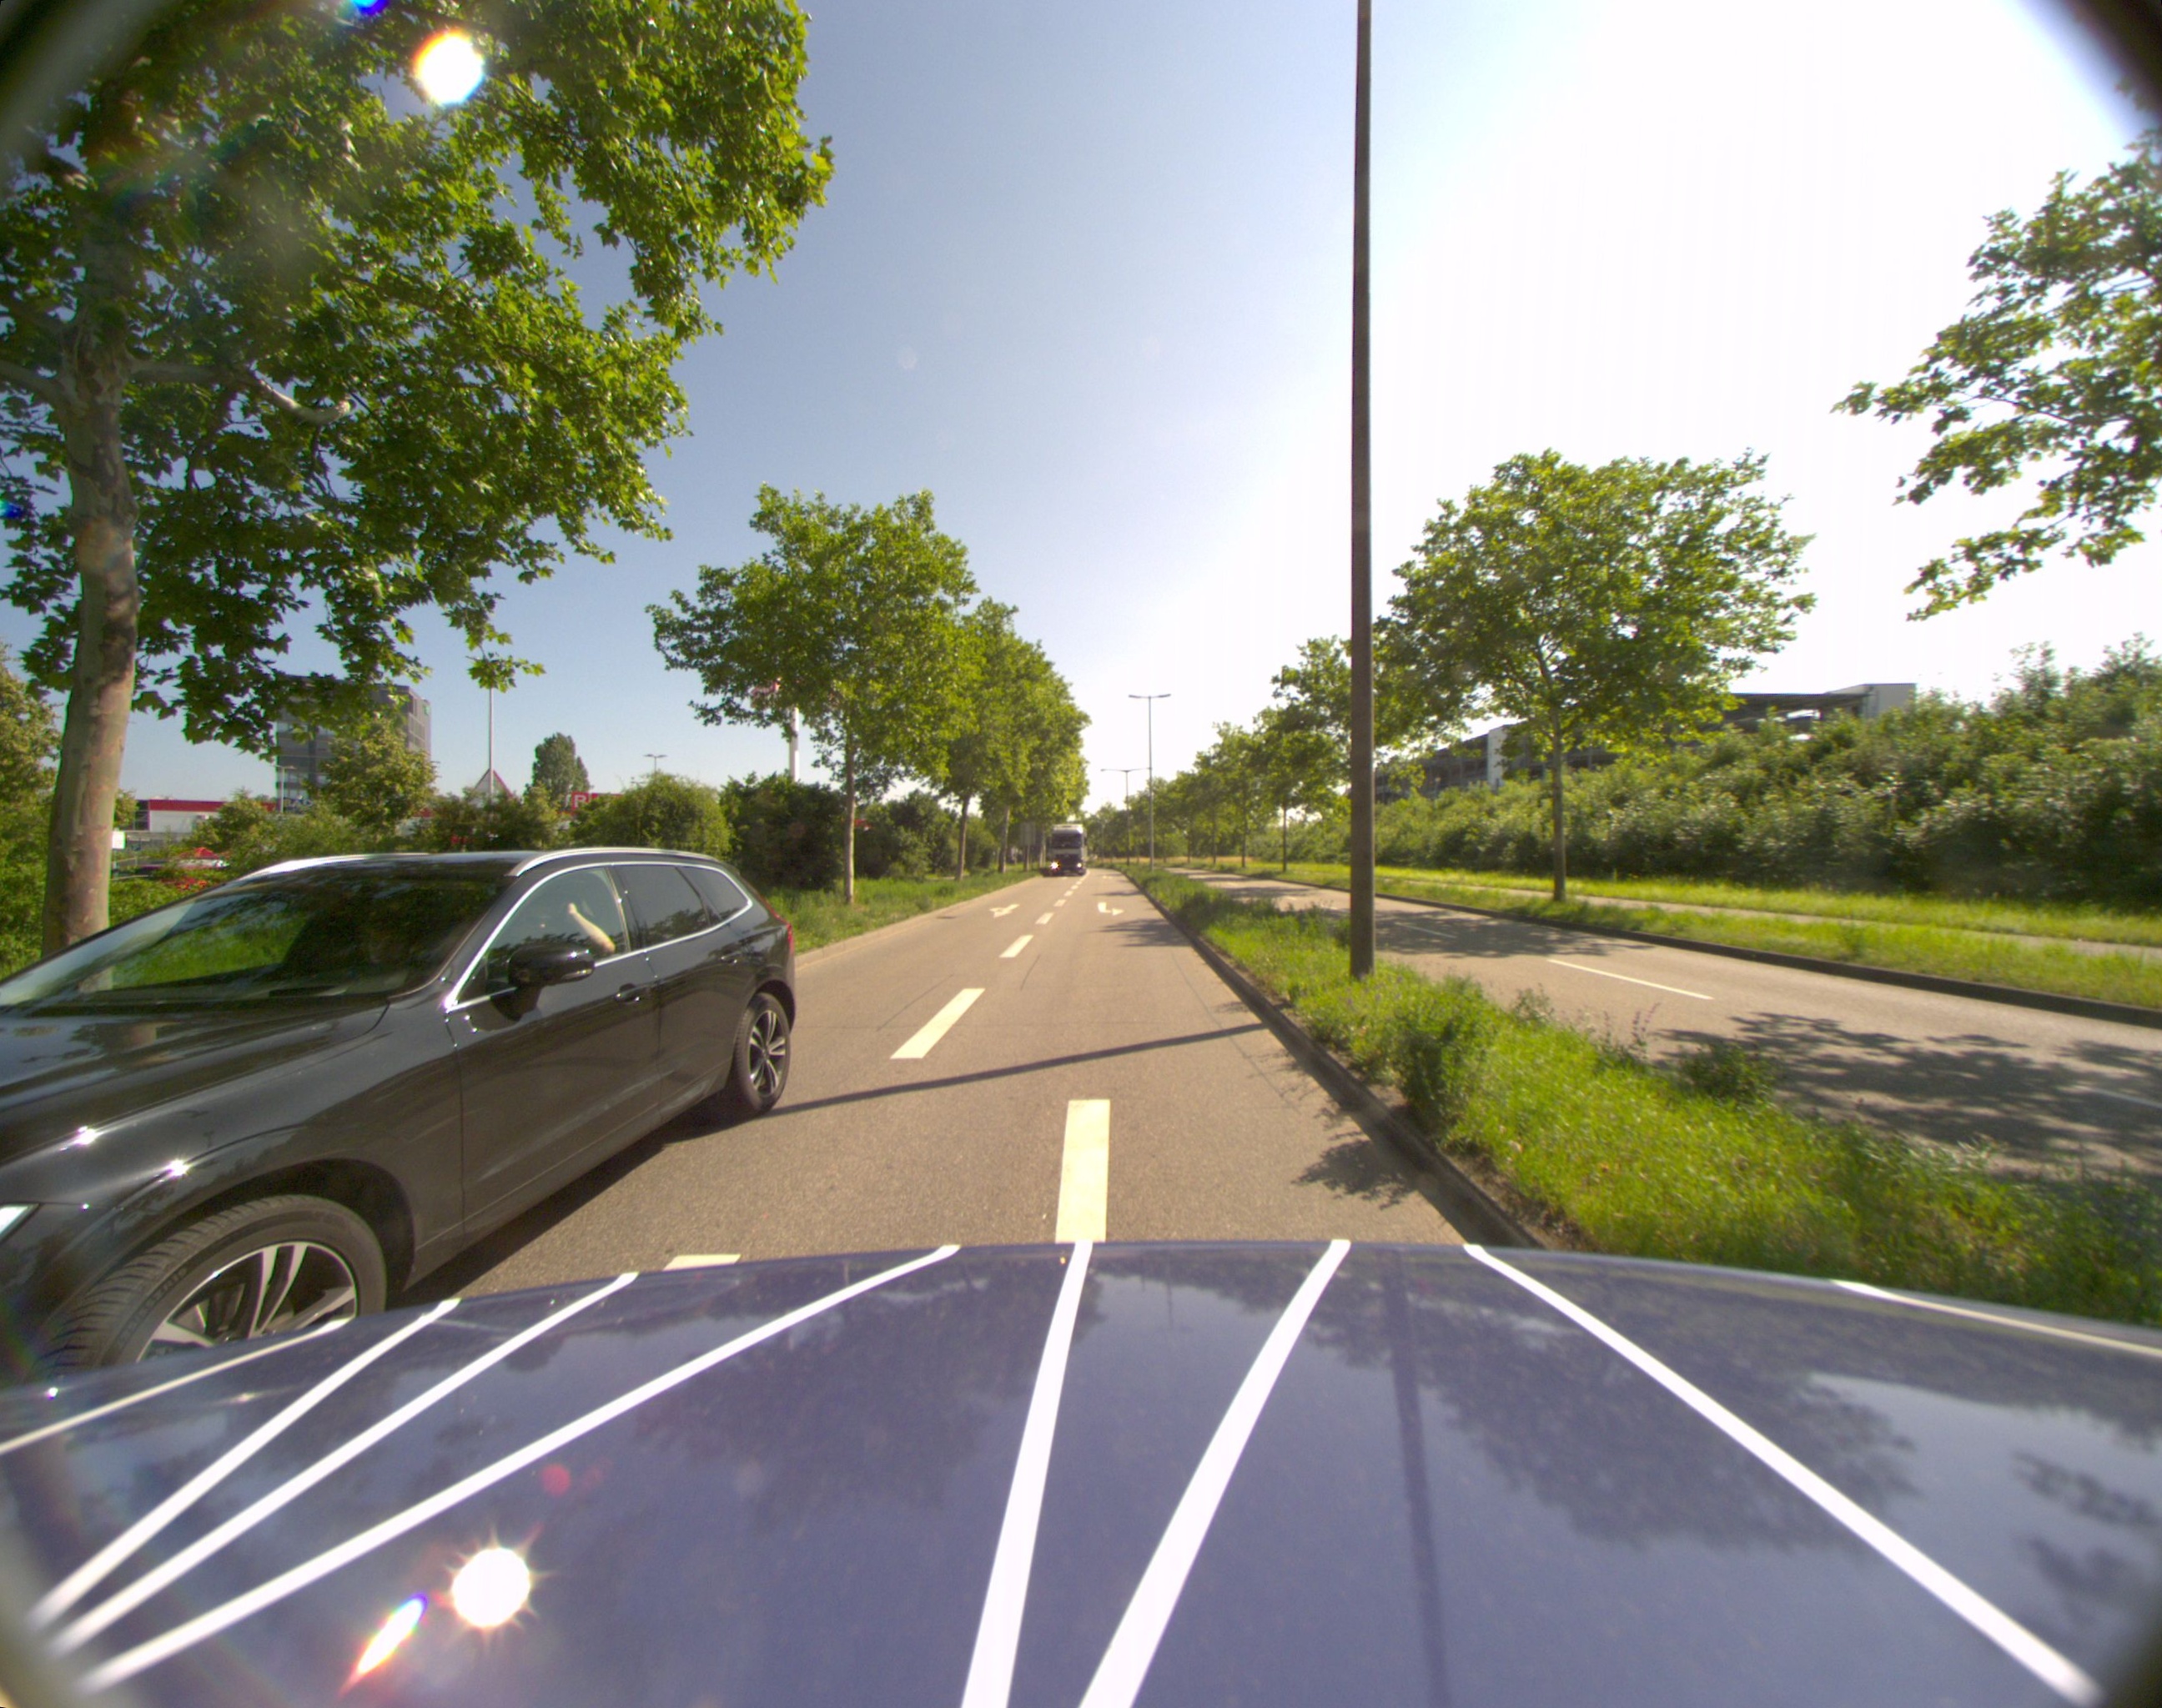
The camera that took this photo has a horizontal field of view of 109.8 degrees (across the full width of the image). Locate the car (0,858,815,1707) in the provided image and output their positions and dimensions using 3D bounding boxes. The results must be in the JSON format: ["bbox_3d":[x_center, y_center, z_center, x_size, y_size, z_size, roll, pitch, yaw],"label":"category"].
[{"bbox_3d":[-2.870,0.878,3.006,1.924,1.613,4.564,-1,1,1],"label":"car"}]

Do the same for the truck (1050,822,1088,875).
[{"bbox_3d":[-0.864,-0.440,59.364,2.741,3.872,5.851,-1,1,1],"label":"truck"}]
